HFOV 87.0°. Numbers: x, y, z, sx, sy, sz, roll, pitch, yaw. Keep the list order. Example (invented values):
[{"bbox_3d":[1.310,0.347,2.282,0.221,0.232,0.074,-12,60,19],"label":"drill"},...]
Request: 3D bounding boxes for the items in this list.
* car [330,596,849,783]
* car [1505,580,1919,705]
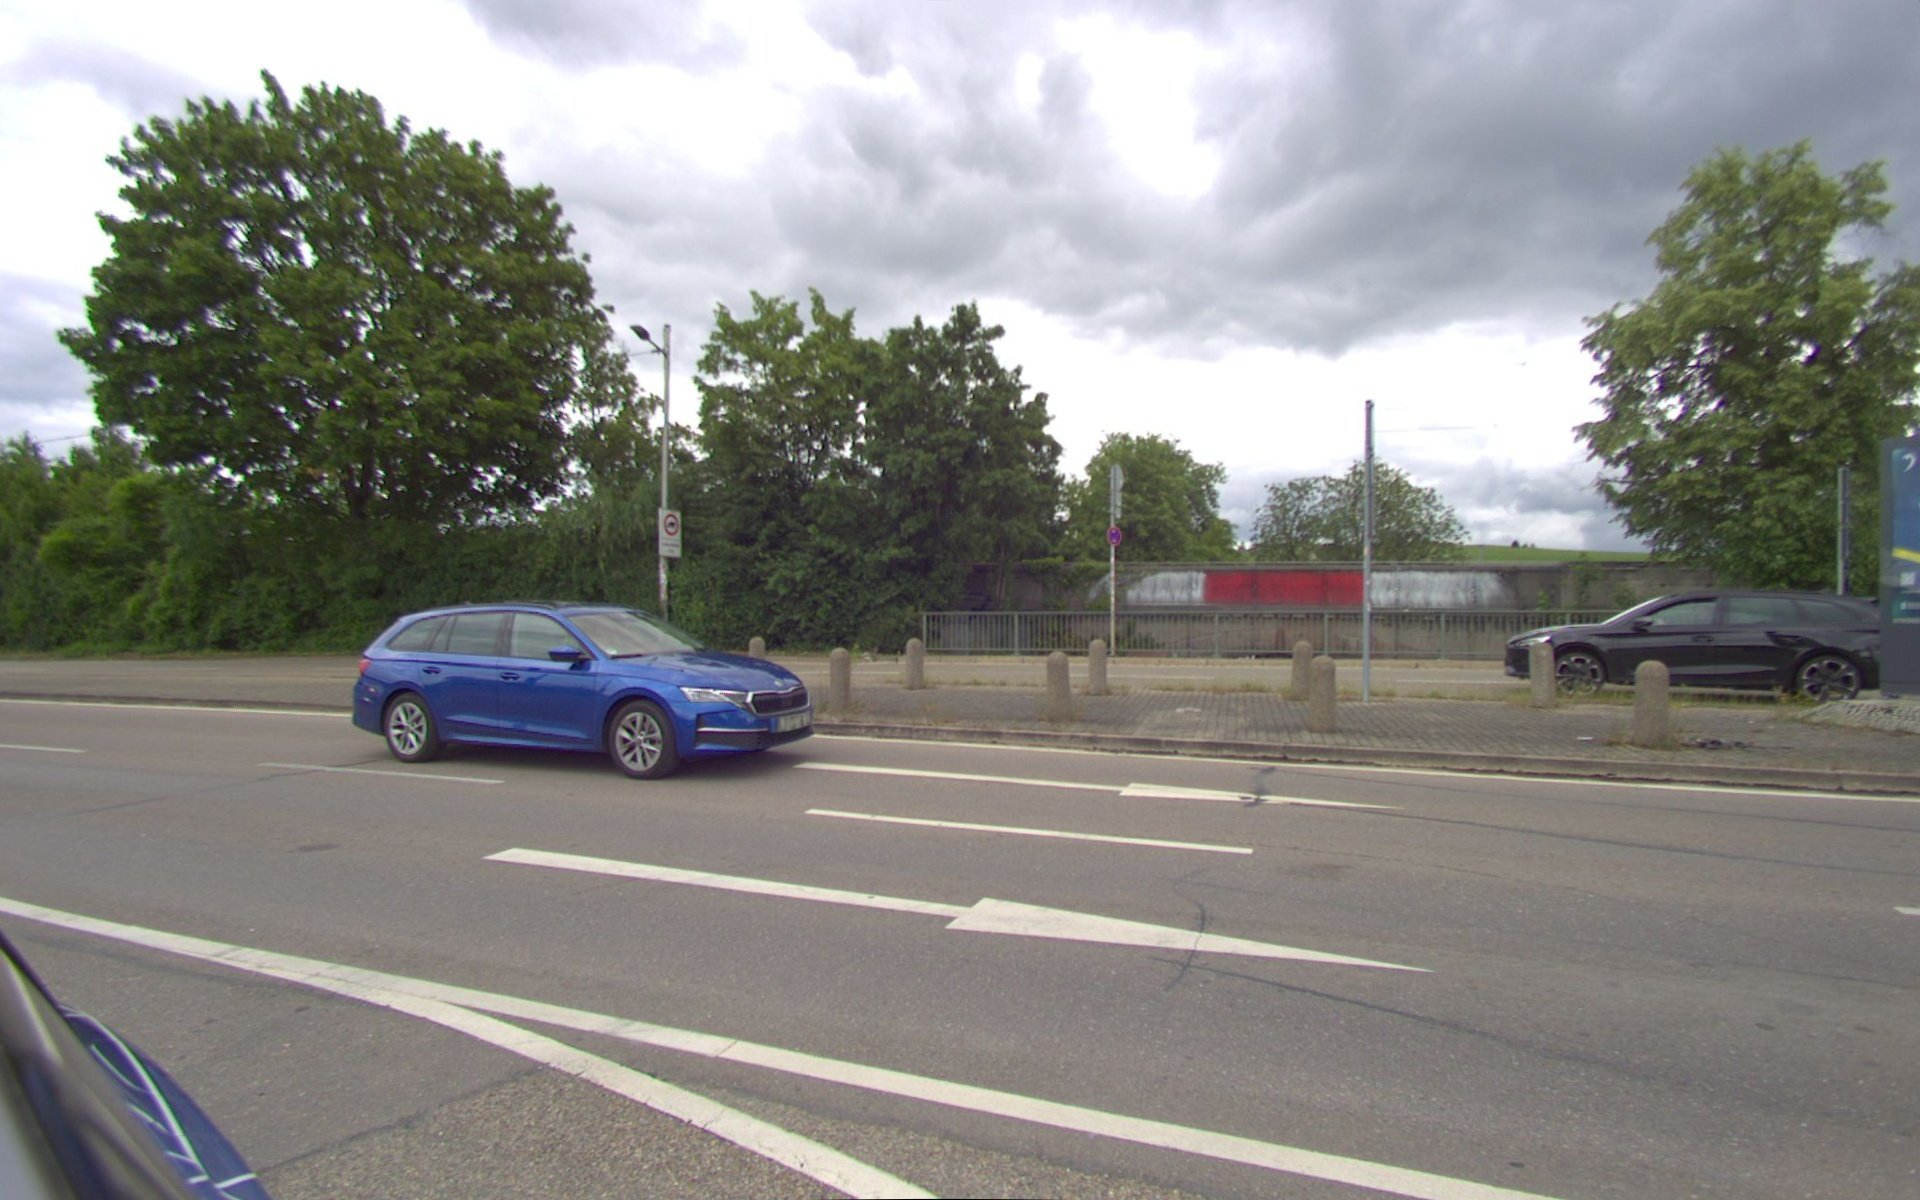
[{"bbox_3d":[-3.473,0.721,9.448,4.550,1.427,1.829,-1,0,23],"label":"car"},{"bbox_3d":[10.071,0.546,13.700,4.606,1.468,1.934,-2,-1,33],"label":"car"}]
